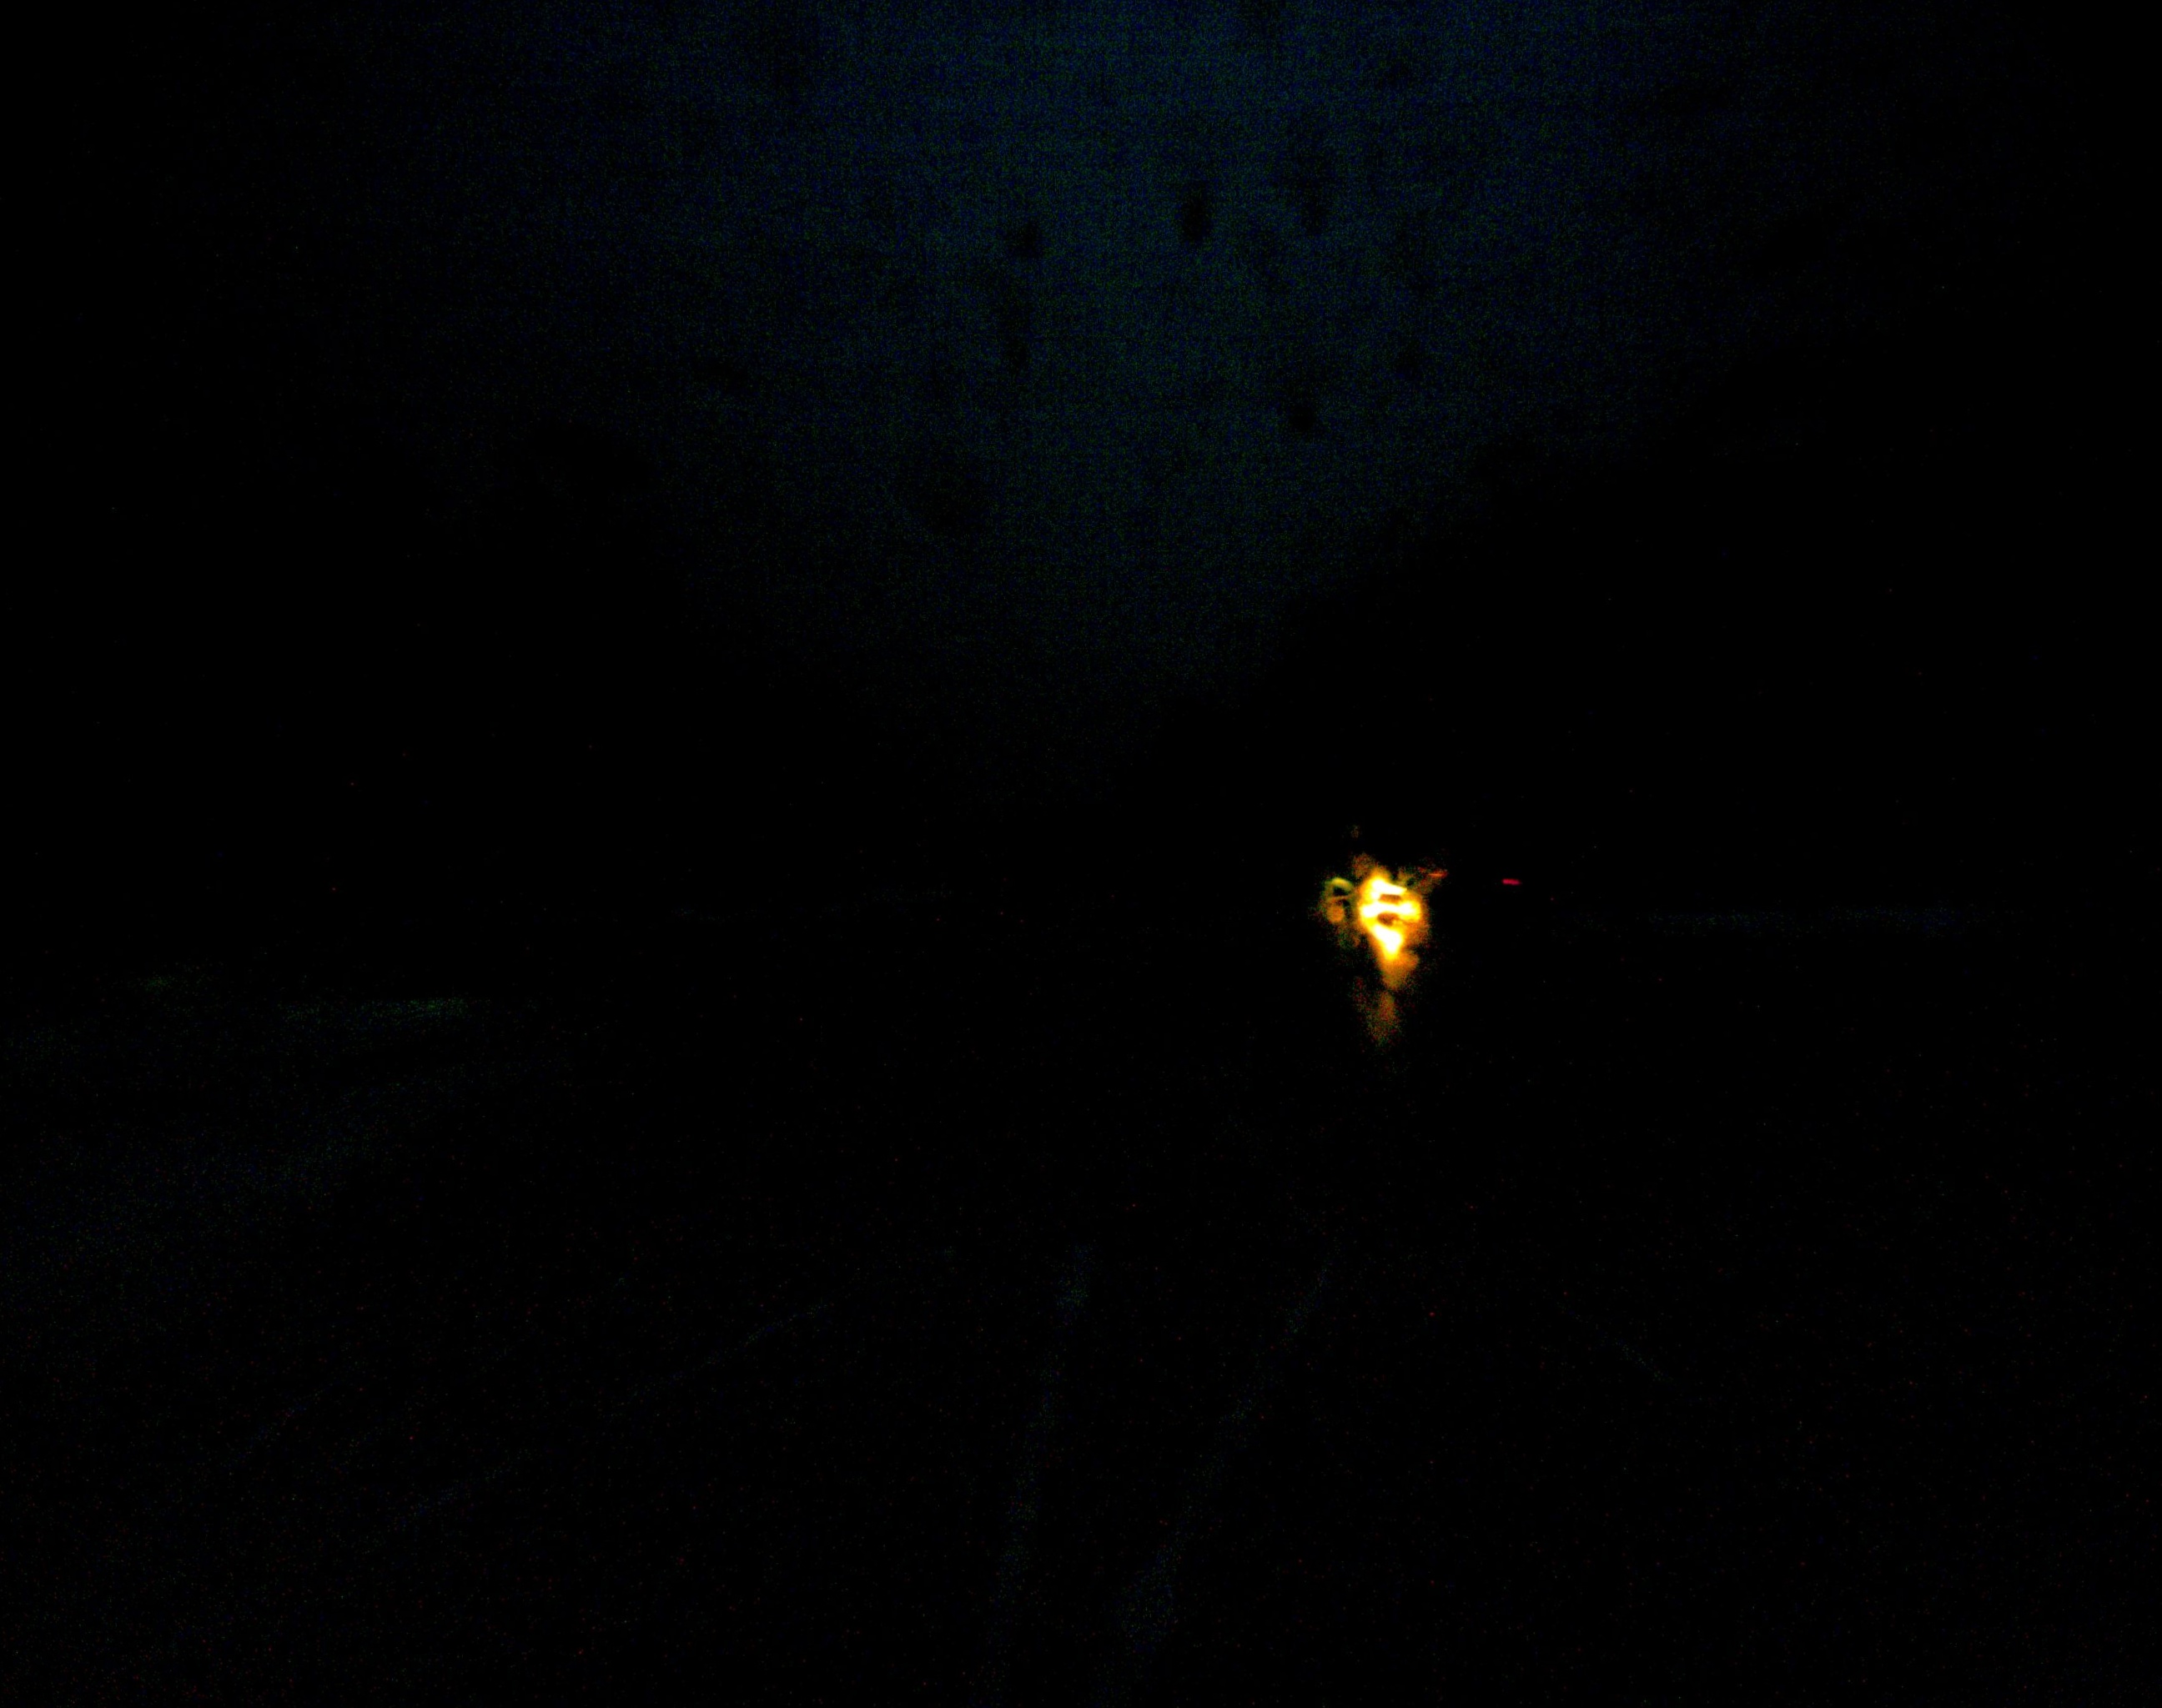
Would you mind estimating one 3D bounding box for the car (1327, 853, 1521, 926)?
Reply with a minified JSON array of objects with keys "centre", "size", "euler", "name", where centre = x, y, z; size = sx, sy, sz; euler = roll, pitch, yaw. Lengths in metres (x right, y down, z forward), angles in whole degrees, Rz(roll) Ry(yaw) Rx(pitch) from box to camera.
[{"centre":[7.631,0.754,16.985],"size":[3.679,1.426,1.724],"euler":[-1,-1,-16],"name":"car"}]
